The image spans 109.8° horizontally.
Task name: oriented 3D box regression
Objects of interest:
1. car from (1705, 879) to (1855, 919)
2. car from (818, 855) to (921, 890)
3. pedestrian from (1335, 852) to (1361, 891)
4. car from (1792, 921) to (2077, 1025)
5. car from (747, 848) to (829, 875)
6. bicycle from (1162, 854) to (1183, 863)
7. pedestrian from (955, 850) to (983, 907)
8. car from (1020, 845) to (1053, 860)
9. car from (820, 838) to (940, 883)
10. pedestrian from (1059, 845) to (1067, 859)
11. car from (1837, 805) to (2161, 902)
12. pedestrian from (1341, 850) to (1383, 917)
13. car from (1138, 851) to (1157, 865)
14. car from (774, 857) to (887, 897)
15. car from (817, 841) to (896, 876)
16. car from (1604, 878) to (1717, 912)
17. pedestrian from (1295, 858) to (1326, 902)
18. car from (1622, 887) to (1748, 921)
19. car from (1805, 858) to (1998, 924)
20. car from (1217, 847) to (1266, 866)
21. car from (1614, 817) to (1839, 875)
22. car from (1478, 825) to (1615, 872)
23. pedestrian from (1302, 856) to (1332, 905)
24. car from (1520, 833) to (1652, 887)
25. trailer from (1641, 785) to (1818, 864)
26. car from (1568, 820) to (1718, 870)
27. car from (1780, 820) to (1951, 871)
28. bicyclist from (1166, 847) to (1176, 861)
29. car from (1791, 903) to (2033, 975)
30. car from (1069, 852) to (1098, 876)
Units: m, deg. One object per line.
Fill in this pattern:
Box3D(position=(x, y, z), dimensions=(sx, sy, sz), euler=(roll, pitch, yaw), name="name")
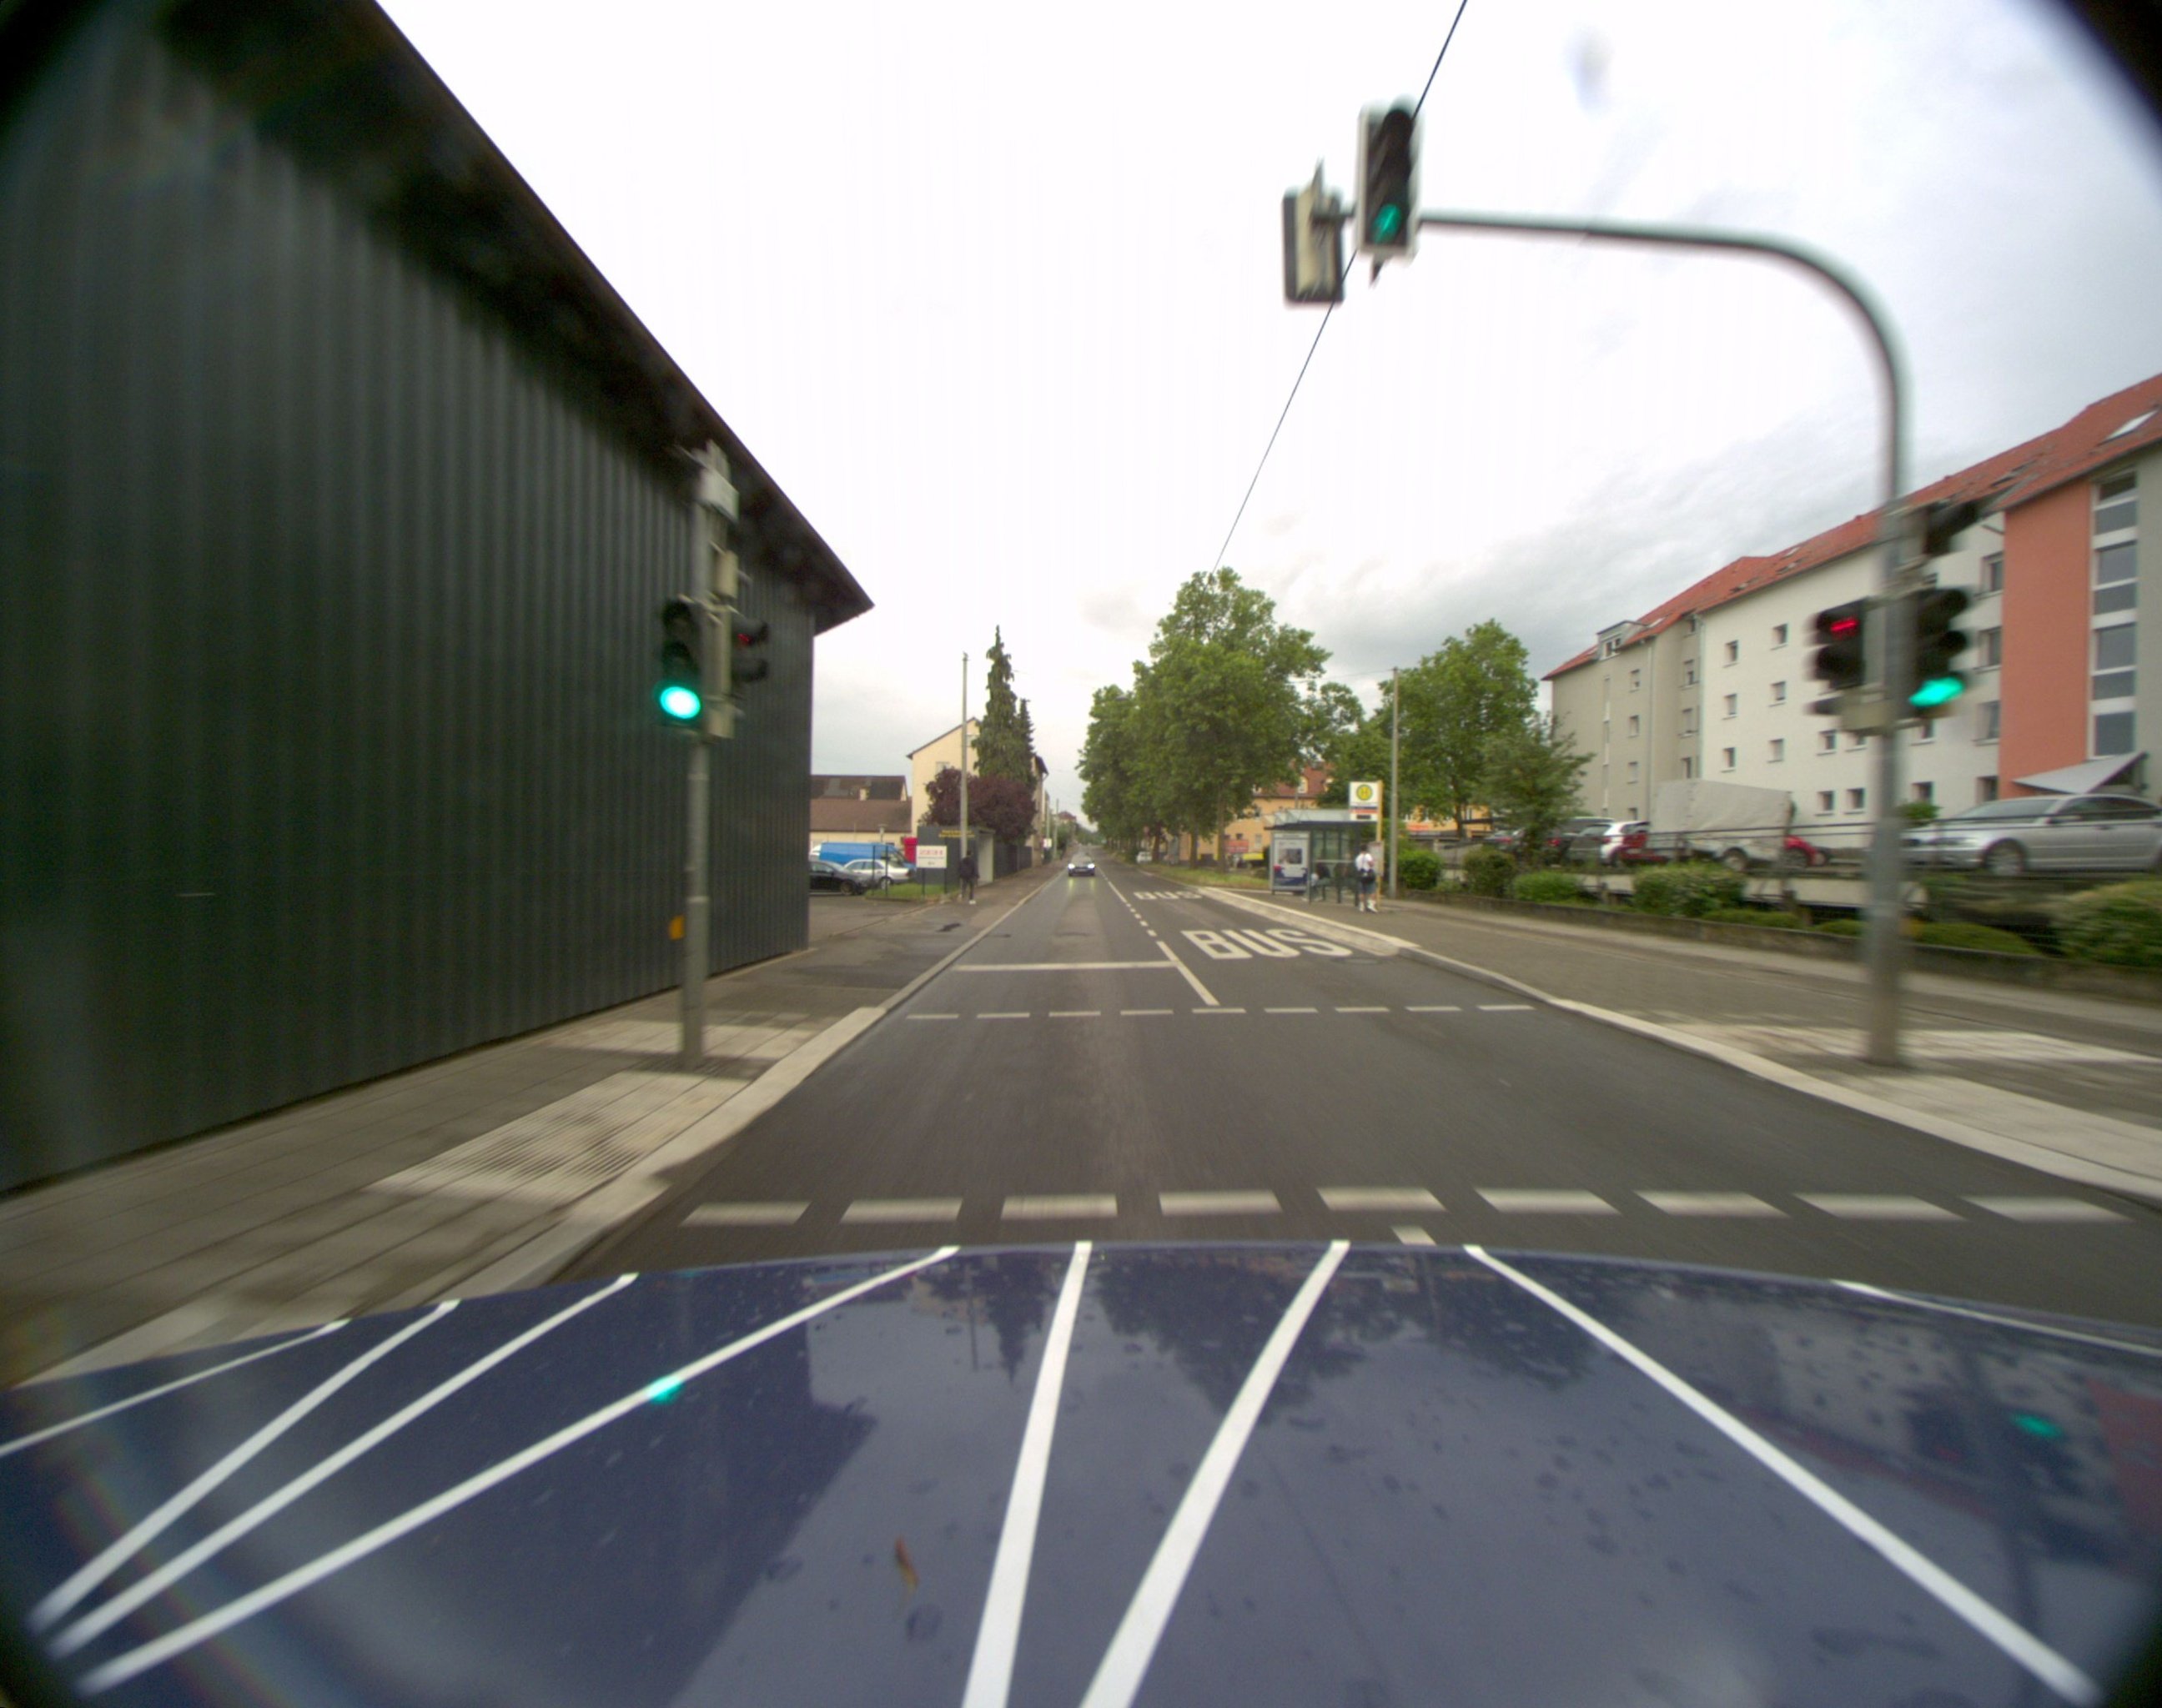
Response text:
Box3D(position=(26.979, 1.727, 29.439), dimensions=(3.996, 1.388, 1.887), euler=(0, 1, 3), name="car")
Box3D(position=(-9.995, 0.861, 36.165), dimensions=(4.390, 1.522, 1.793), euler=(0, 2, -1), name="car")
Box3D(position=(11.322, 0.742, 32.257), dimensions=(0.757, 1.602, 0.834), euler=(-2, 2, -4), name="pedestrian")
Box3D(position=(16.165, 2.212, 14.537), dimensions=(3.518, 1.687, 1.705), euler=(0, 1, 0), name="car")
Box3D(position=(-19.142, 0.464, 49.748), dimensions=(4.610, 1.684, 1.998), euler=(0, 2, -4), name="car")
Box3D(position=(10.092, 0.489, 84.189), dimensions=(2.259, 0.990, 0.557), euler=(0, 3, 33), name="bicycle")
Box3D(position=(-3.438, 0.734, 23.398), dimensions=(0.744, 1.695, 0.901), euler=(-2, 2, -5), name="pedestrian")
Box3D(position=(-5.505, -0.187, 94.027), dimensions=(3.958, 1.714, 1.791), euler=(-1, 2, 0), name="car")
Box3D(position=(-10.194, 0.314, 38.803), dimensions=(5.582, 2.198, 2.000), euler=(0, 0, -1), name="car")
Box3D(position=(-2.473, -0.218, 103.129), dimensions=(1.045, 1.887, 0.900), euler=(0, 2, 1), name="pedestrian")
Box3D(position=(15.630, -0.053, 12.569), dimensions=(4.366, 1.416, 1.859), euler=(-1, 2, 0), name="car")
Box3D(position=(7.100, 0.735, 19.201), dimensions=(0.743, 1.589, 0.606), euler=(4, 3, 4), name="pedestrian")
Box3D(position=(7.629, 0.413, 87.965), dimensions=(1.790, 1.542, 4.351), euler=(0, 0, 0), name="car")
Box3D(position=(-10.214, 0.918, 31.150), dimensions=(3.996, 1.415, 1.784), euler=(-1, 2, 1), name="car")
Box3D(position=(-15.553, 0.294, 52.834), dimensions=(4.833, 2.258, 1.999), euler=(0, 2, 0), name="car")
Box3D(position=(27.377, 1.938, 35.975), dimensions=(3.996, 1.498, 1.685), euler=(0, 1, 3), name="car")
Box3D(position=(7.276, 0.815, 24.133), dimensions=(0.777, 1.310, 0.641), euler=(2, 3, 4), name="pedestrian")
Box3D(position=(27.260, 2.254, 34.419), dimensions=(3.996, 1.388, 2.065), euler=(0, 1, 3), name="car")
Box3D(position=(26.559, 1.175, 24.732), dimensions=(3.996, 2.002, 2.000), euler=(0, 1, 3), name="car")
Box3D(position=(15.185, 0.217, 72.074), dimensions=(4.218, 1.530, 1.981), euler=(-2, 2, -1), name="car")
Box3D(position=(16.076, -0.214, 19.082), dimensions=(4.099, 1.295, 1.809), euler=(-1, 2, 0), name="car")
Box3D(position=(16.159, -0.225, 26.493), dimensions=(3.663, 1.490, 1.896), euler=(-2, 2, -3), name="car")
Box3D(position=(7.254, 0.803, 23.369), dimensions=(0.689, 1.410, 0.641), euler=(3, 3, 4), name="pedestrian")
Box3D(position=(15.535, 0.161, 23.470), dimensions=(3.138, 1.534, 1.436), euler=(-1, 2, 0), name="car")
Box3D(position=(14.508, -0.643, 17.113), dimensions=(2.711, 1.636, 1.480), euler=(-1, 1, 1), name="trailer")
Box3D(position=(15.741, -0.267, 21.371), dimensions=(3.138, 1.263, 1.436), euler=(-1, 2, 0), name="car")
Box3D(position=(27.690, -0.293, 26.946), dimensions=(3.900, 1.740, 2.000), euler=(0, 1, 3), name="car")
Box3D(position=(9.983, -0.028, 84.190), dimensions=(0.814, 1.544, 0.837), euler=(0, 3, 33), name="bicyclist")
Box3D(position=(19.644, 1.977, 18.086), dimensions=(3.978, 1.396, 1.589), euler=(-1, 2, 0), name="car")
Box3D(position=(0.141, 0.702, 52.793), dimensions=(1.949, 1.643, 3.860), euler=(0, -1, 0), name="car")
